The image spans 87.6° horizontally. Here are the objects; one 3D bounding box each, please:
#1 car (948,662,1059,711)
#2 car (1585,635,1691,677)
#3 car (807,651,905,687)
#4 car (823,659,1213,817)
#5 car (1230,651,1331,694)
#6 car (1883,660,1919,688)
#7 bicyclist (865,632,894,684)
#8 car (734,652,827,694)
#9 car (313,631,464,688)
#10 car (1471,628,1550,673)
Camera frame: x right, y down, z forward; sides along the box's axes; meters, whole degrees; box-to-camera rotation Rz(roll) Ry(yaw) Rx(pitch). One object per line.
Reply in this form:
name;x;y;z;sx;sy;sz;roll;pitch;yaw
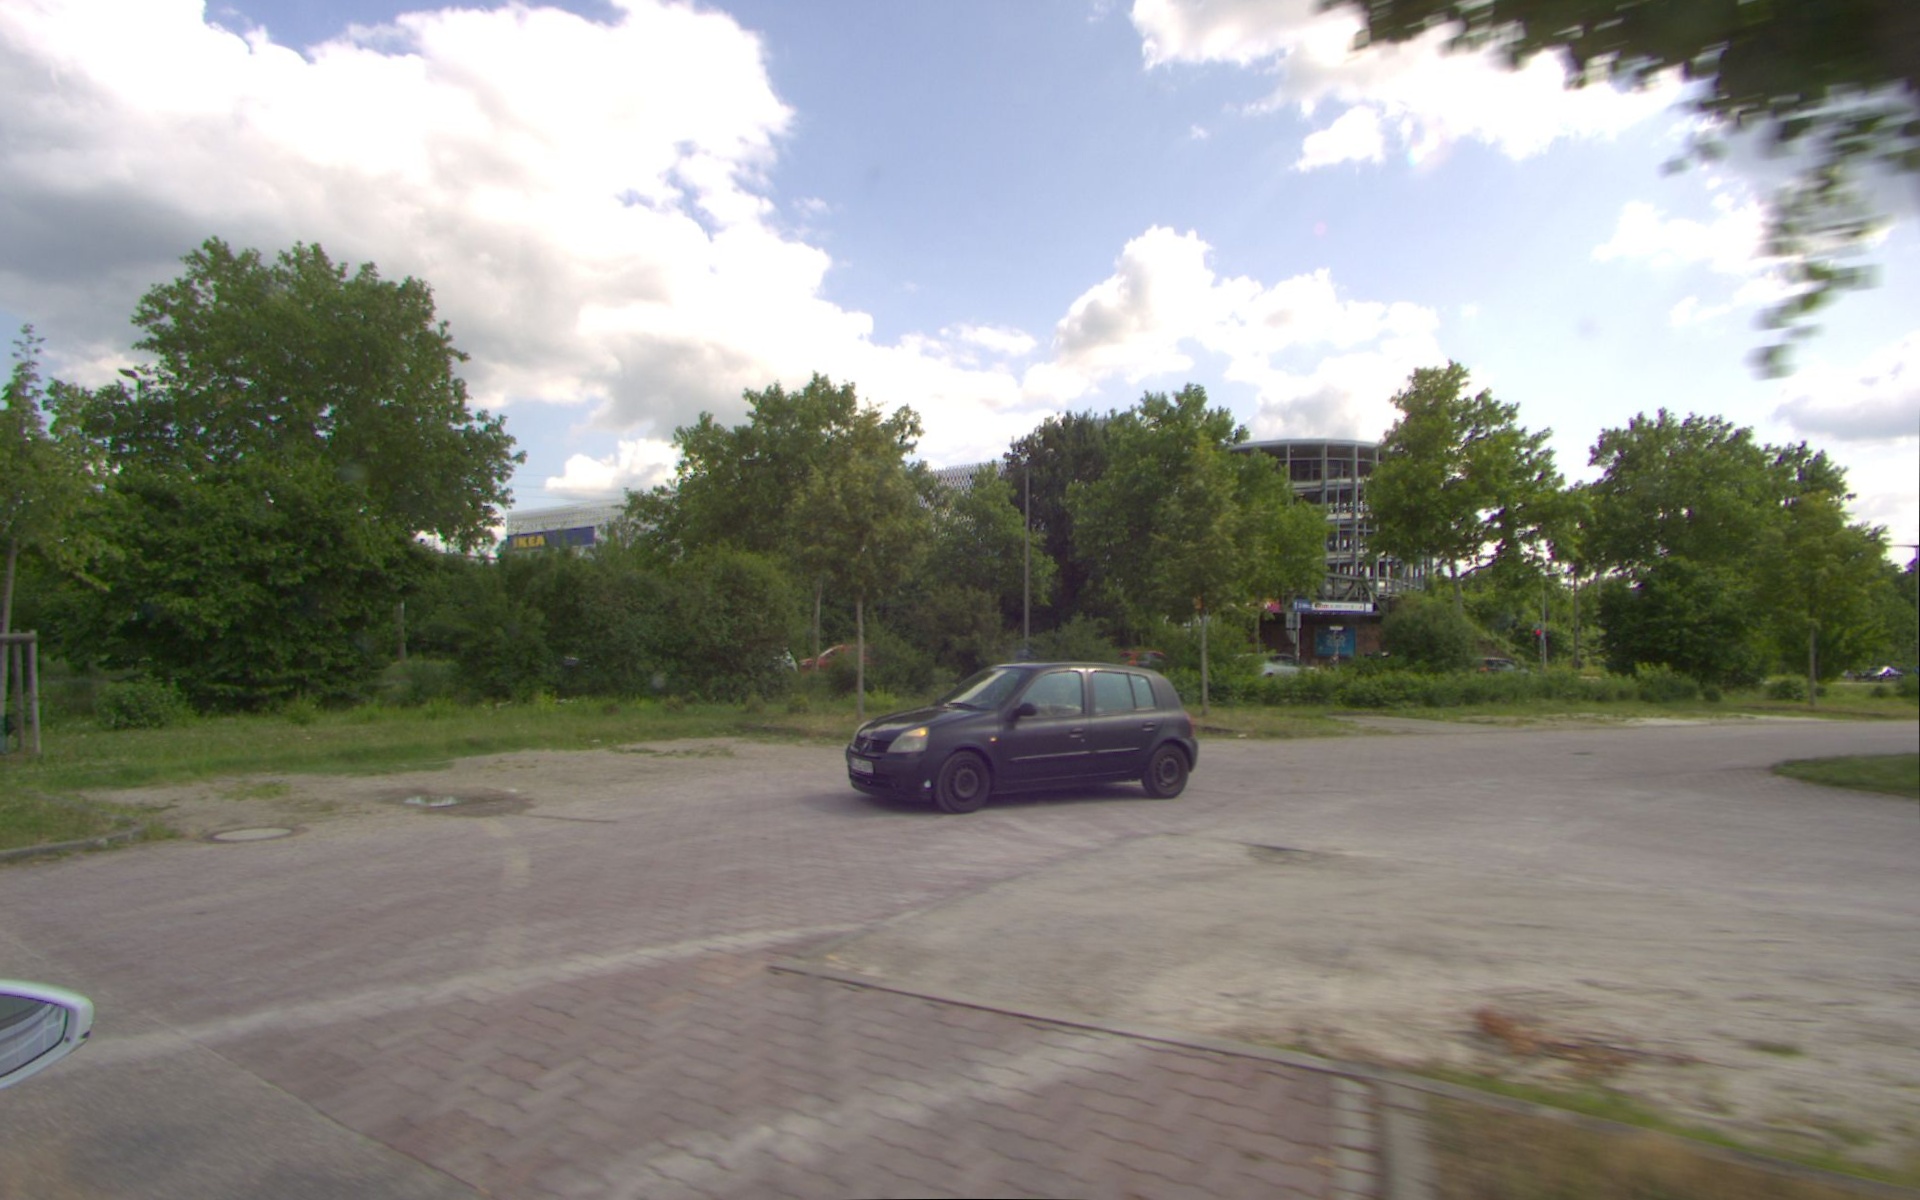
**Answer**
car;1.740;3.480;40.357;3.935;1.736;1.996;-1;-4;-24
car;37.087;3.065;54.799;5.304;2.038;2.244;-1;-4;-24
car;-5.136;3.382;49.484;4.515;1.690;1.997;1;-2;-18
car;0.628;1.289;10.289;3.731;1.338;1.605;2;-2;-28
car;14.517;3.273;45.387;3.935;1.736;1.996;-1;-4;-24
car;74.032;5.728;77.734;3.934;2.039;1.995;1;-2;-22
bicyclist;-2.544;1.816;31.460;0.749;1.611;0.635;0;-4;-21
car;-8.149;3.270;45.359;3.930;1.831;1.997;1;-2;-17
car;-18.181;1.878;32.086;3.936;1.737;1.994;1;-2;-24
car;32.535;3.026;59.199;4.084;2.573;1.734;1;-4;-17
